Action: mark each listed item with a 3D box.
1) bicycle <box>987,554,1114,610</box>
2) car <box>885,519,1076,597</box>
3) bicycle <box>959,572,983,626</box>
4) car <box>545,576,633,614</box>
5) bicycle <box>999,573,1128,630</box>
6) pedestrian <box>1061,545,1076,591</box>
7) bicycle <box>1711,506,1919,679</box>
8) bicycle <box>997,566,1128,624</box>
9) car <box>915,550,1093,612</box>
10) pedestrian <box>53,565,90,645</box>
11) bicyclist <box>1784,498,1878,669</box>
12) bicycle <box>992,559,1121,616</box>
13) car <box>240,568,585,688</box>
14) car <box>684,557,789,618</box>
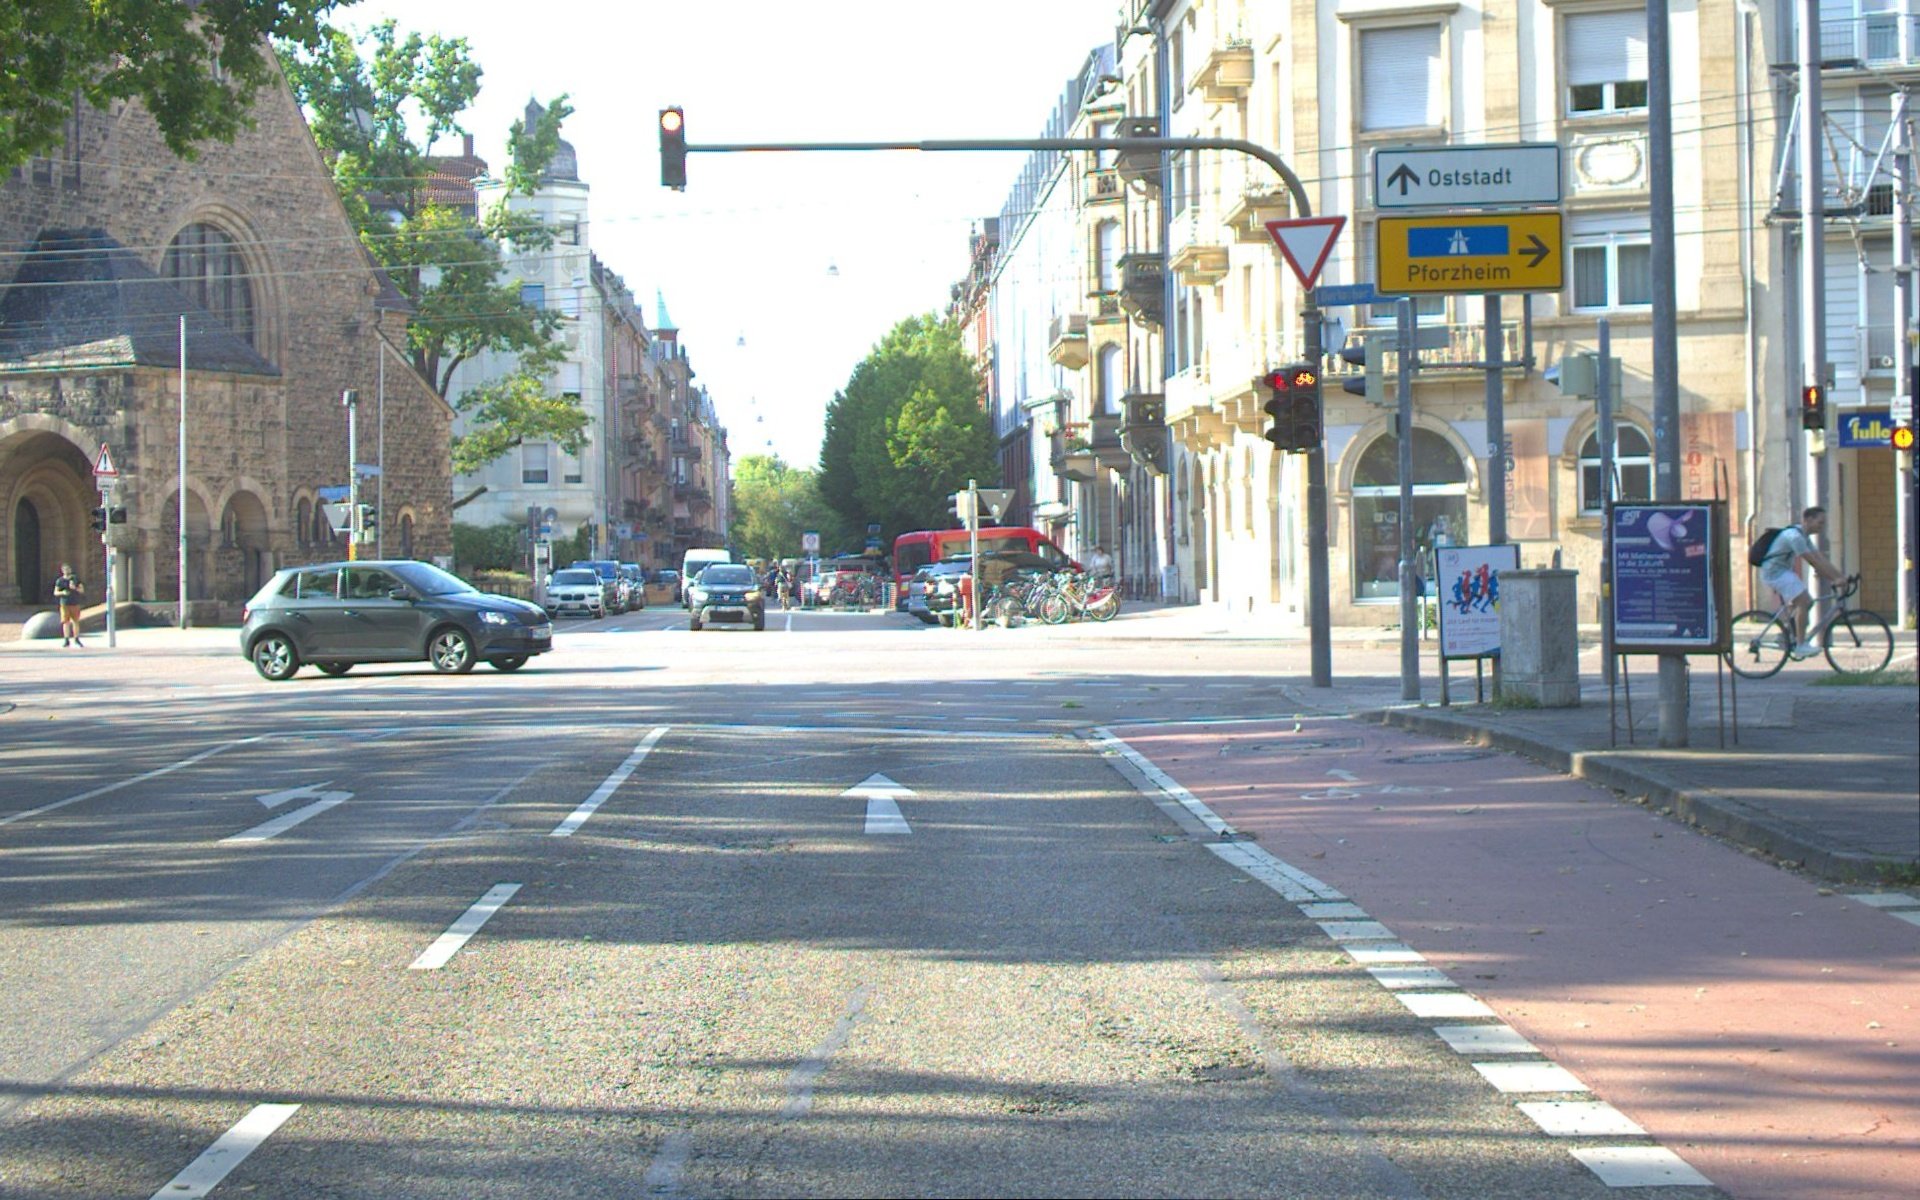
[{"bbox_3d":[2.046,-0.395,77.539,2.802,1.199,0.510,1,0,-4],"label":"bicycle"},{"bbox_3d":[0.588,-1.156,95.524,4.988,2.007,2.166,1,0,-37],"label":"car"},{"bbox_3d":[0.245,-0.018,77.506,0.508,1.199,2.091,1,0,0],"label":"bicycle"},{"bbox_3d":[-11.961,-0.157,110.922,1.595,1.140,3.381,1,0,17],"label":"car"},{"bbox_3d":[2.289,0.025,76.108,2.802,1.199,0.517,1,0,-4],"label":"bicycle"},{"bbox_3d":[3.042,-0.888,96.223,0.394,1.285,0.431,1,0,3],"label":"pedestrian"},{"bbox_3d":[8.904,-0.071,33.943,2.843,1.650,0.830,1,0,10],"label":"bicycle"},{"bbox_3d":[2.249,-0.114,75.337,2.802,1.199,0.510,1,0,-4],"label":"bicycle"},{"bbox_3d":[1.187,-0.499,91.842,4.417,1.532,1.875,1,0,-34],"label":"car"},{"bbox_3d":[-20.165,0.115,78.043,0.610,1.784,0.711,1,0,-1],"label":"pedestrian"},{"bbox_3d":[8.604,-0.162,33.985,0.802,1.651,0.934,1,0,10],"label":"bicyclist"},{"bbox_3d":[2.153,-0.282,76.734,2.802,1.199,0.517,1,0,-4],"label":"bicycle"},{"bbox_3d":[-6.855,0.337,43.075,3.930,1.392,1.651,1,0,20],"label":"car"},{"bbox_3d":[-5.470,-0.296,84.610,1.588,1.457,3.181,1,0,16],"label":"car"}]
